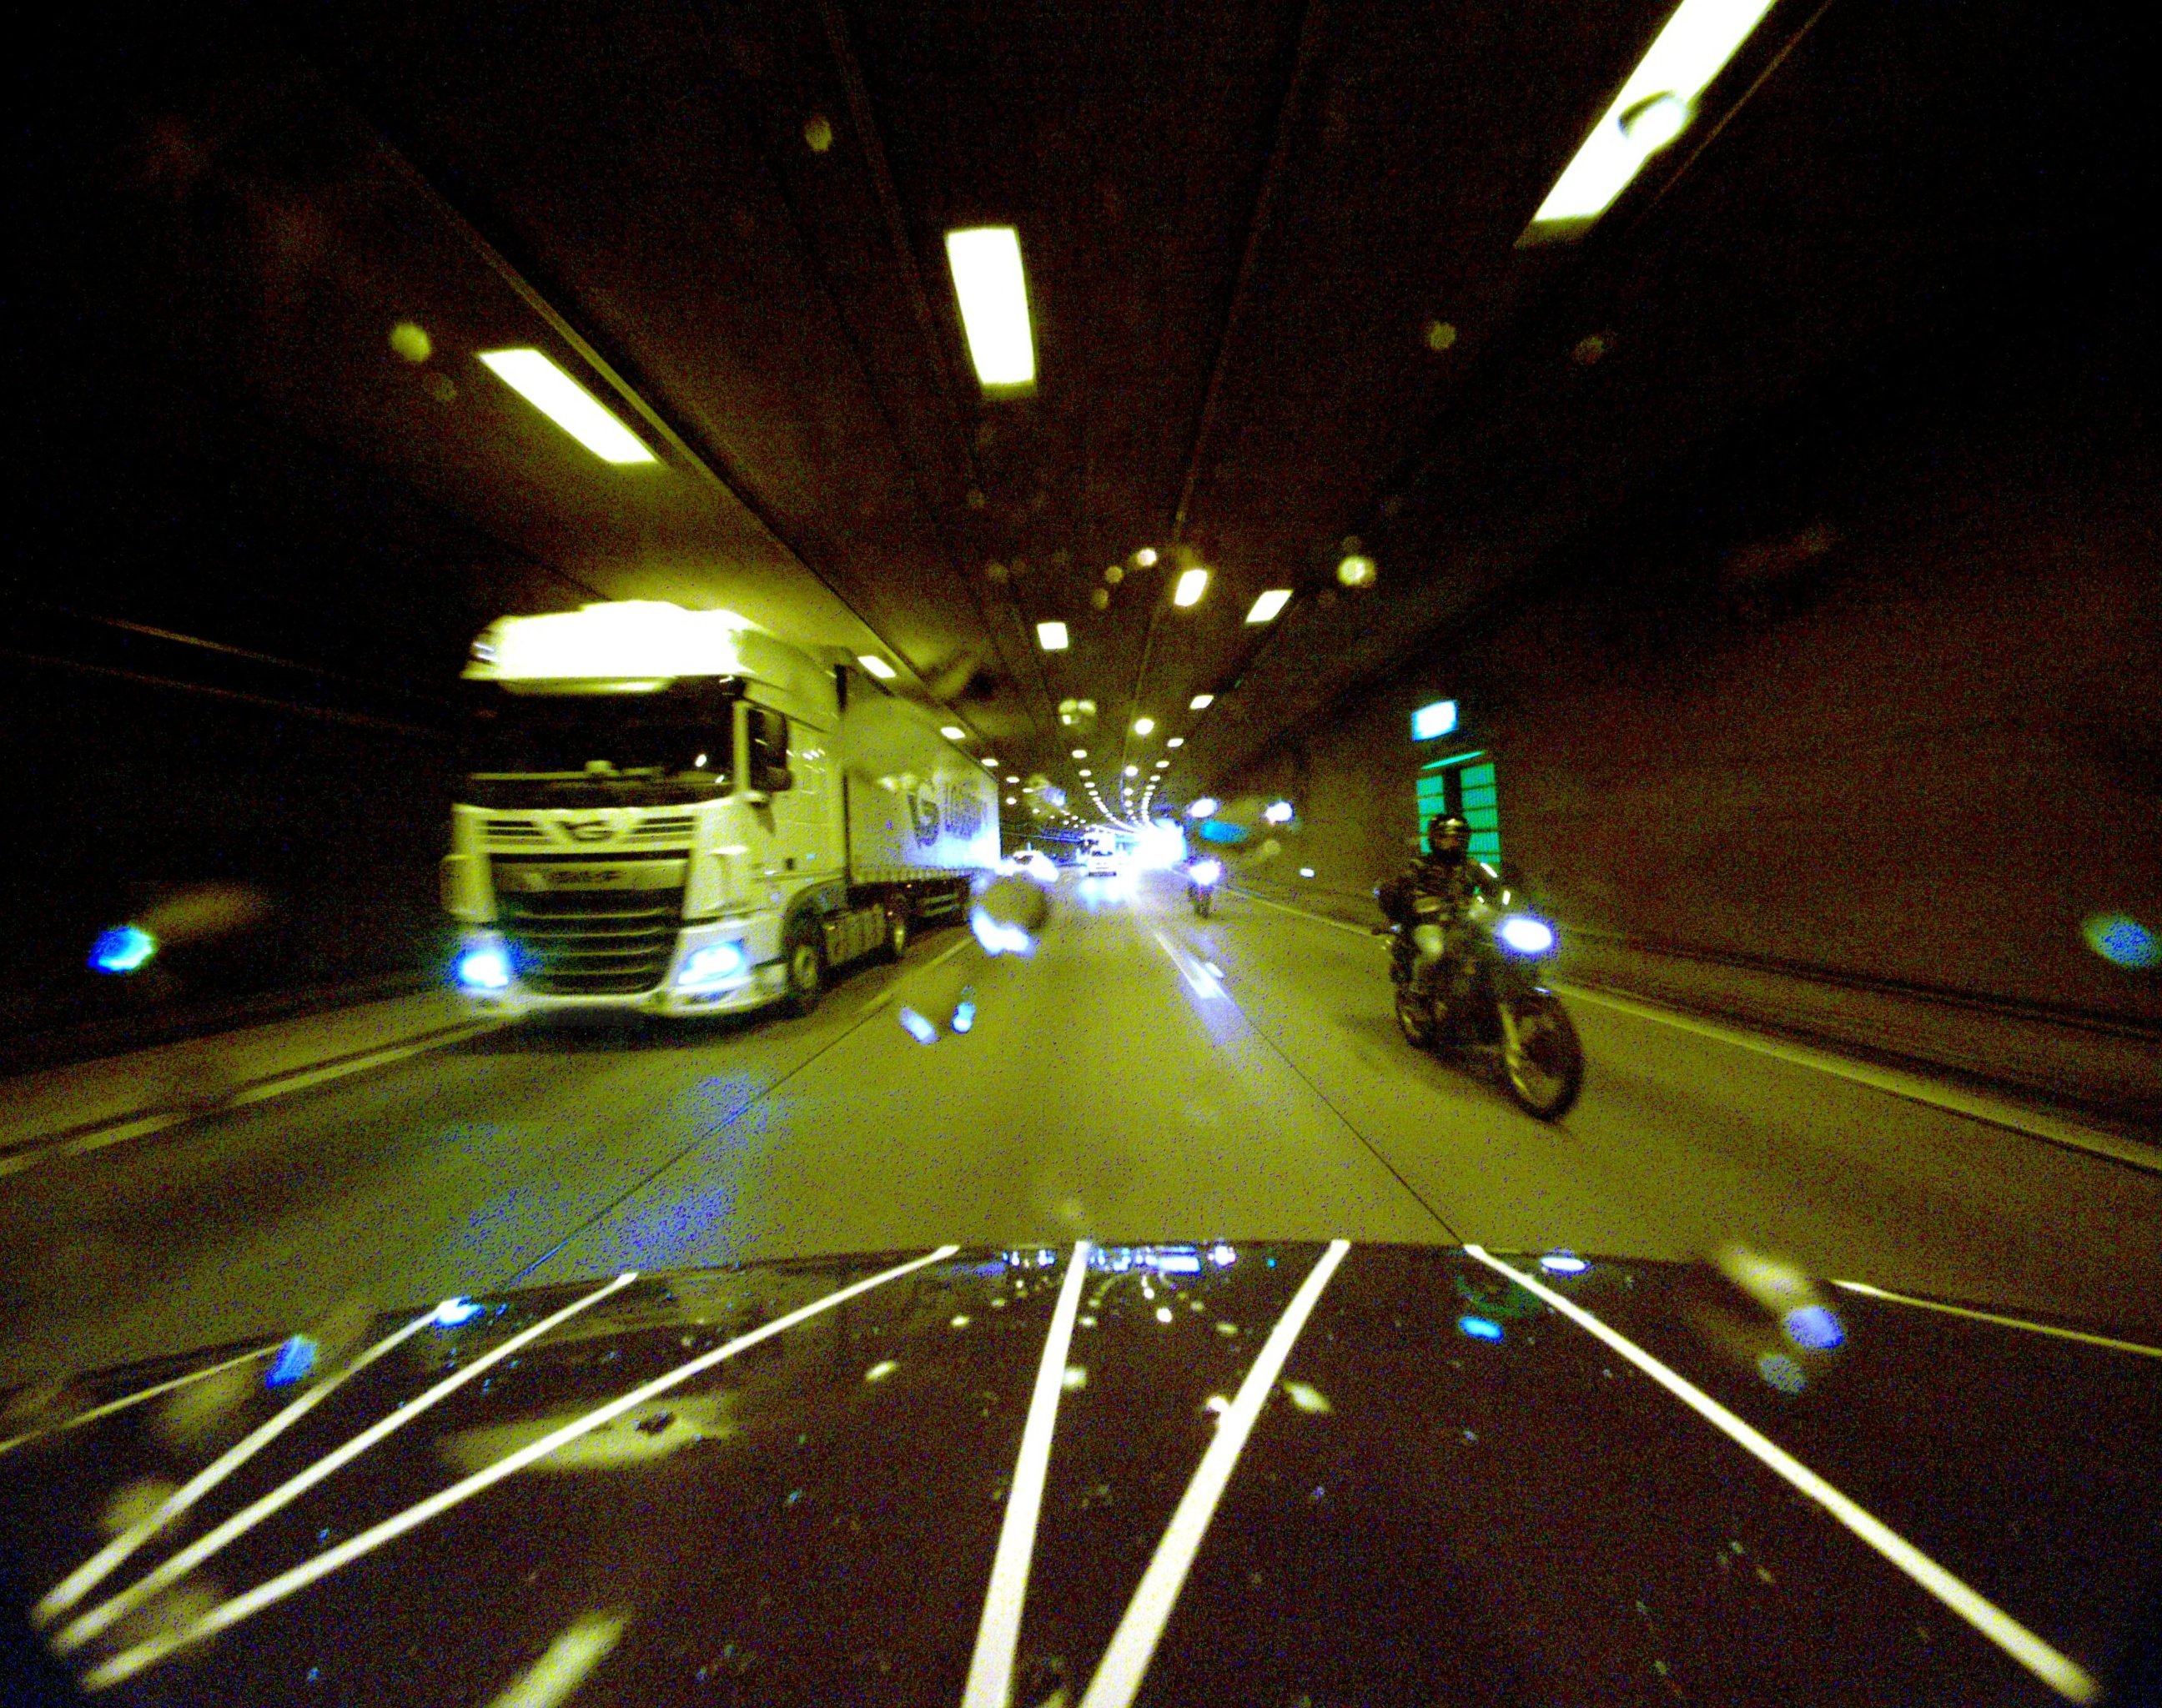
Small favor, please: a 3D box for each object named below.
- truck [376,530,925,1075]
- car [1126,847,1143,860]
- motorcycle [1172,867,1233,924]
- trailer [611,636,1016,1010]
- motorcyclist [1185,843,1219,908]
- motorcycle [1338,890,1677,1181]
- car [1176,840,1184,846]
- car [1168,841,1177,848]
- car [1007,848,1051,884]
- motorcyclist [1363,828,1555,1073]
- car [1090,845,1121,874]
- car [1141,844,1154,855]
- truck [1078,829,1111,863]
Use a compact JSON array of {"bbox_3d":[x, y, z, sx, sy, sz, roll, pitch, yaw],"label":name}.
[{"bbox_3d":[-3.983,-0.399,8.936,2.652,4.139,6.005,-3,1,2],"label":"truck"},{"bbox_3d":[7.655,-0.110,108.451,1.997,1.788,4.001,-3,1,7],"label":"car"},{"bbox_3d":[2.815,0.932,17.898,1.056,1.151,2.427,-2,0,1],"label":"motorcycle"},{"bbox_3d":[-3.659,-0.387,15.689,2.626,4.139,14.002,-3,0,3],"label":"trailer"},{"bbox_3d":[2.818,0.491,17.786,0.628,1.480,0.890,-2,1,1],"label":"motorcyclist"},{"bbox_3d":[2.477,0.939,4.940,0.847,1.238,2.605,-2,0,3],"label":"motorcycle"},{"bbox_3d":[31.129,-3.413,238.674,1.996,1.788,4.003,-3,1,14],"label":"car"},{"bbox_3d":[24.492,-2.617,202.305,1.997,1.788,4.002,-3,1,11],"label":"car"},{"bbox_3d":[-2.817,0.619,41.811,1.839,1.849,4.288,-2,0,3],"label":"car"},{"bbox_3d":[2.449,0.589,5.030,0.841,1.469,0.821,-2,1,2],"label":"motorcyclist"},{"bbox_3d":[1.666,0.352,52.438,1.998,1.890,4.000,-2,0,1],"label":"car"},{"bbox_3d":[12.096,-0.814,137.950,1.997,1.788,4.002,-3,1,9],"label":"car"},{"bbox_3d":[1.733,-1.057,92.809,2.899,3.819,9.000,-3,1,7],"label":"truck"}]
